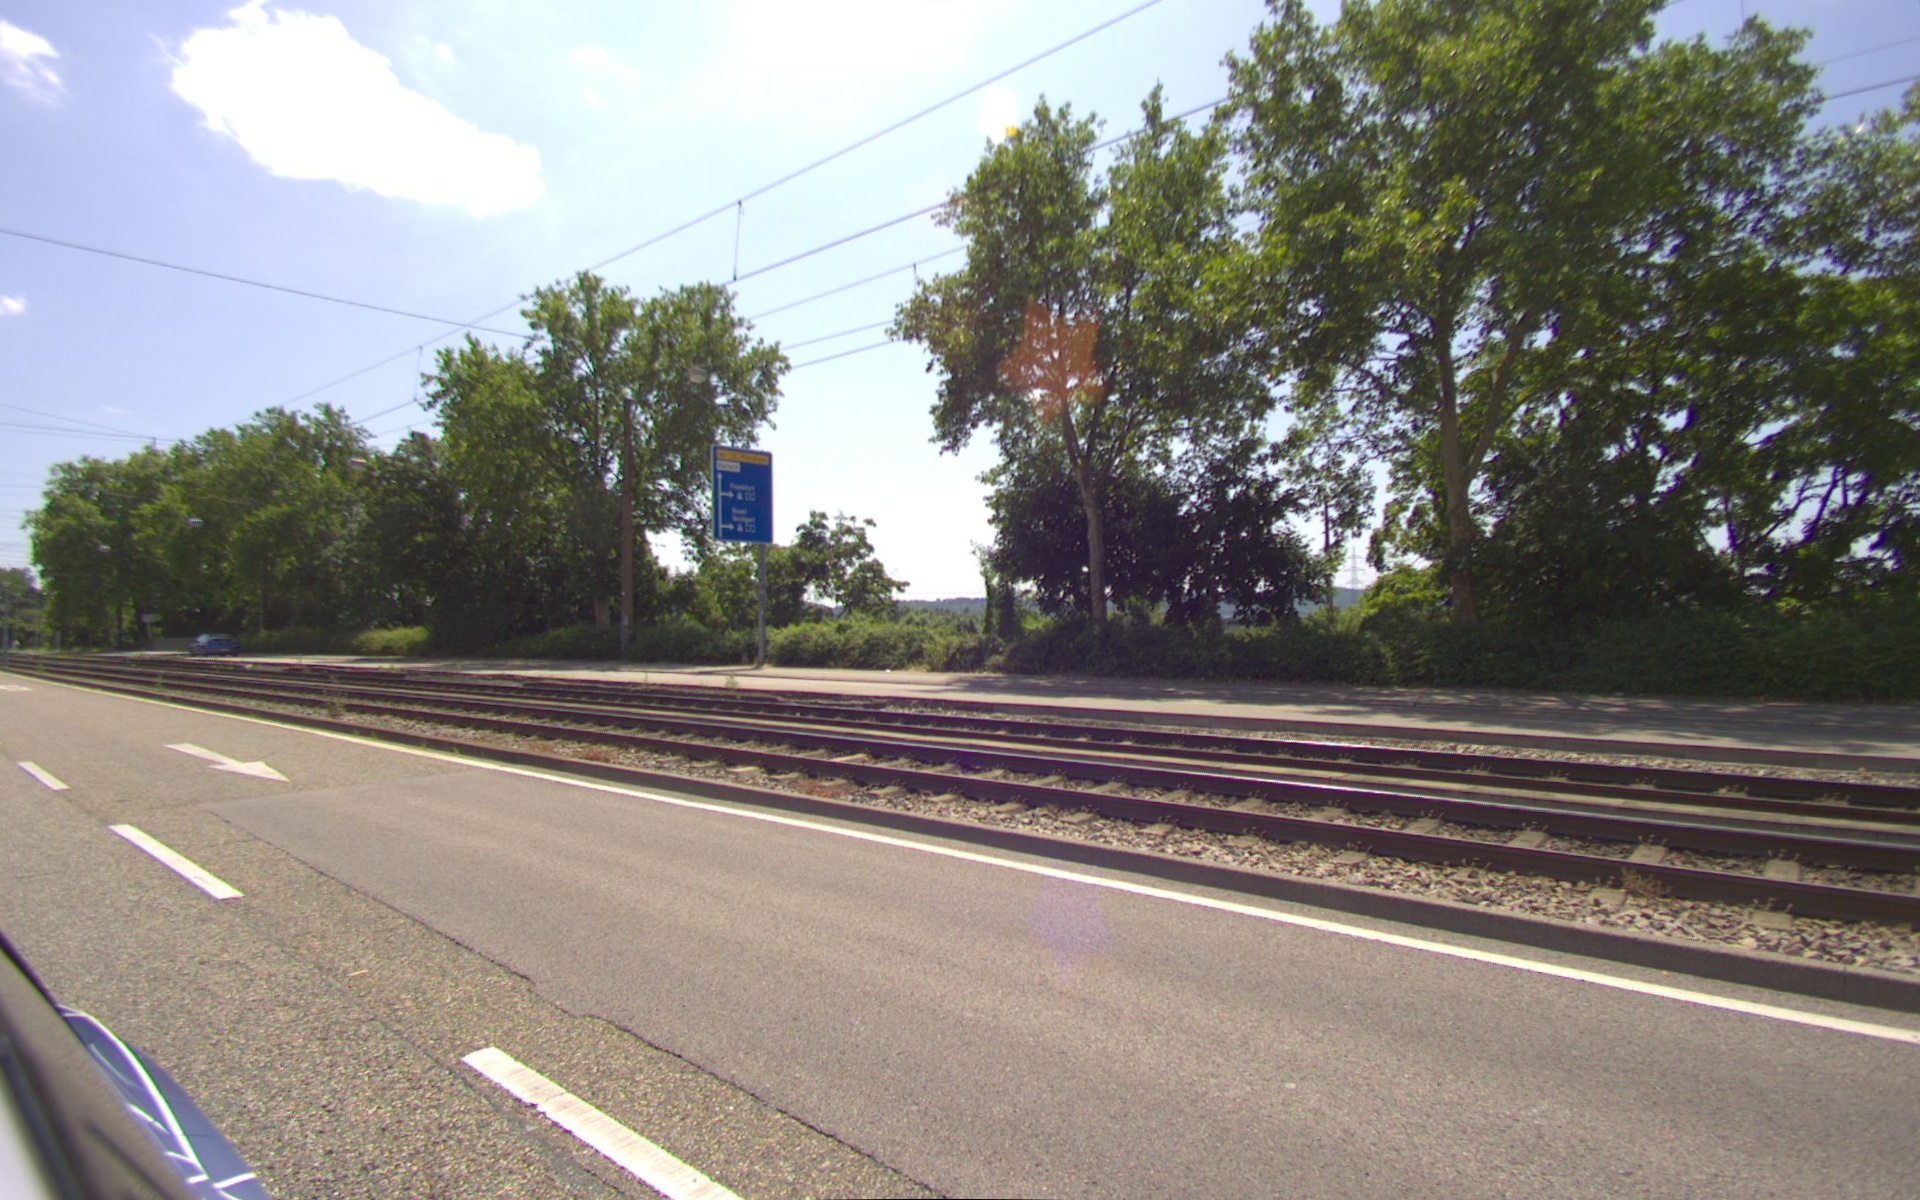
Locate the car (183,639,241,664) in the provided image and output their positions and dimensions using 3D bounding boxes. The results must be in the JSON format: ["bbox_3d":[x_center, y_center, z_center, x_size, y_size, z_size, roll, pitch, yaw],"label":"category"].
[{"bbox_3d":[-46.288,3.181,62.599,4.731,1.515,1.780,-2,-4,40],"label":"car"}]
